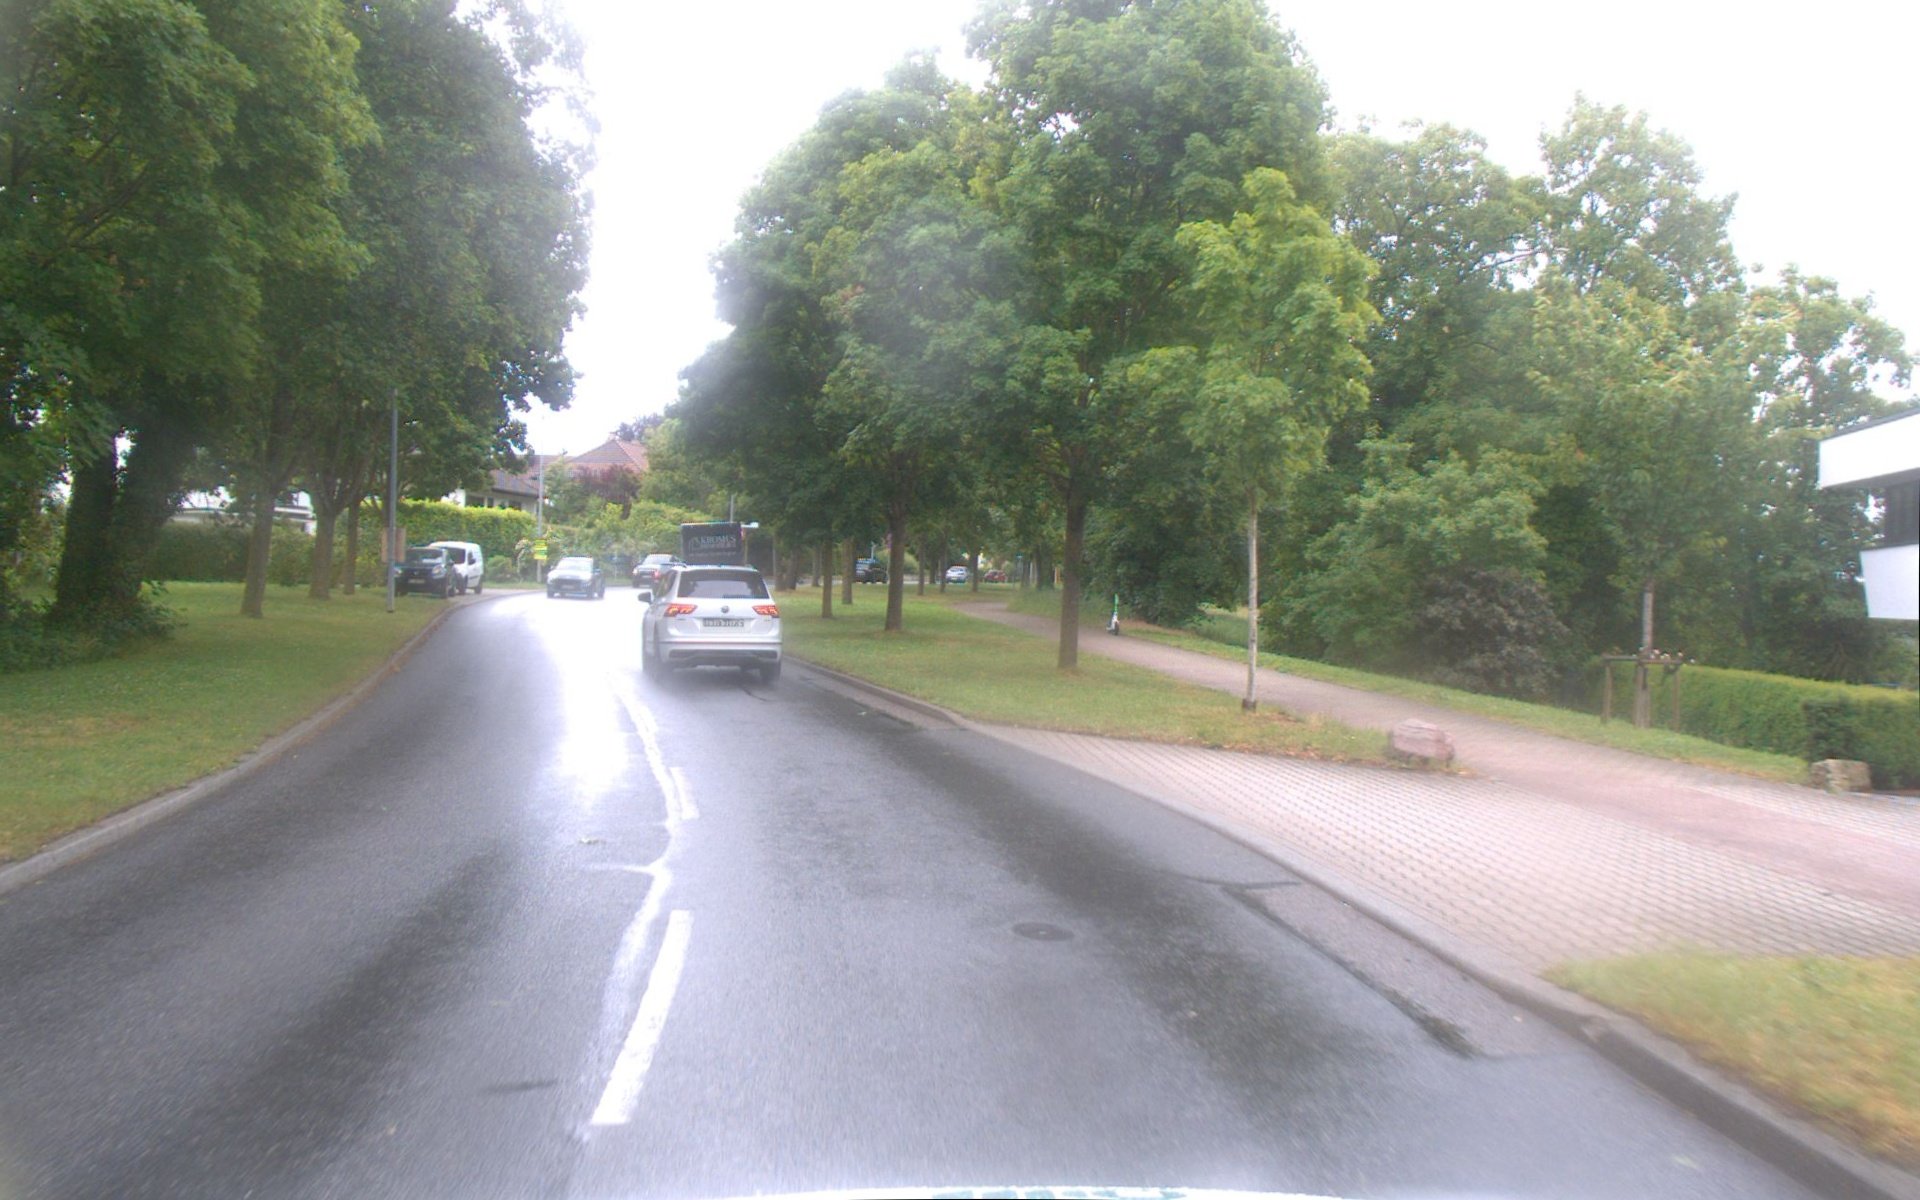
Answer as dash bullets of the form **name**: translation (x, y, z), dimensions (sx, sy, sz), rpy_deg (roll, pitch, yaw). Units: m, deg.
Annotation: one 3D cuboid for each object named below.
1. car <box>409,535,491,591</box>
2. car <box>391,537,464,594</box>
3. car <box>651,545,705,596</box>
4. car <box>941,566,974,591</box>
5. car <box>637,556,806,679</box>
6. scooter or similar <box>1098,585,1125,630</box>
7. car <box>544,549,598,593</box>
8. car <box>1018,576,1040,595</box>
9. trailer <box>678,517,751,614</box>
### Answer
- **car**: translation (-18.182, -1.322, 59.134), dimensions (1.763, 1.826, 4.369), rpy_deg (3, 1, -4)
- **car**: translation (-17.332, -1.116, 53.969), dimensions (1.720, 1.669, 4.578), rpy_deg (4, 0, -12)
- **car**: translation (-12.391, -1.279, 72.953), dimensions (1.864, 2.048, 3.941), rpy_deg (4, 0, -5)
- **car**: translation (-0.173, -1.722, 135.901), dimensions (1.951, 1.835, 4.003), rpy_deg (4, 0, 10)
- **car**: translation (-3.678, 0.194, 24.899), dimensions (1.942, 1.681, 4.158), rpy_deg (0, 1, -17)
- **scooter or similar**: translation (4.056, 0.193, 44.458), dimensions (0.454, 1.166, 1.299), rpy_deg (0, 1, -7)
- **car**: translation (-15.446, -1.178, 65.775), dimensions (1.757, 1.563, 4.083), rpy_deg (4, 1, -10)
- **car**: translation (7.471, -1.587, 178.140), dimensions (1.952, 1.839, 4.003), rpy_deg (4, 0, 6)
- **trailer**: translation (-7.977, -1.136, 53.357), dimensions (1.958, 2.856, 5.594), rpy_deg (-3, 2, -11)
